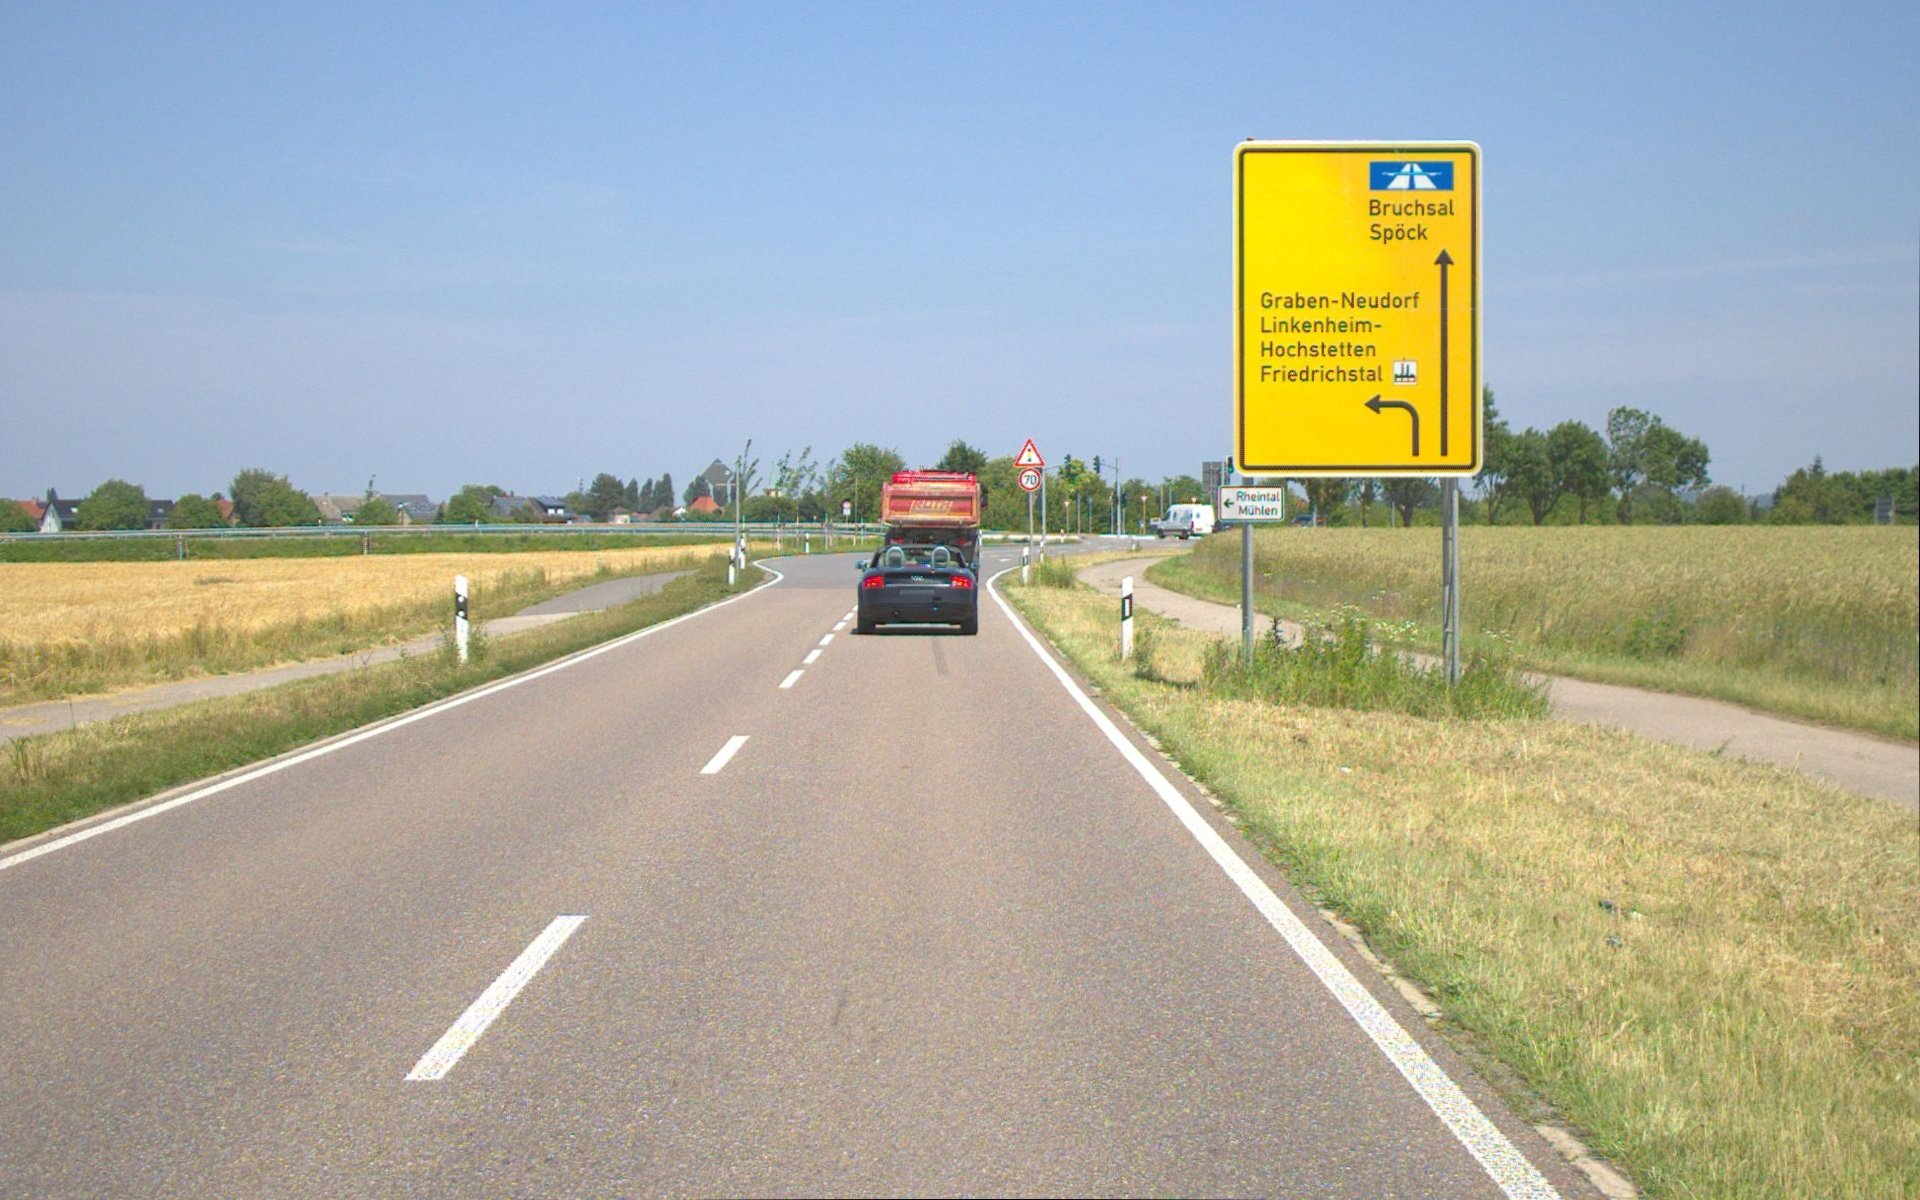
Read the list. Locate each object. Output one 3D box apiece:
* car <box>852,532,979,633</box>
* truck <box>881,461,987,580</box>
[{"bbox_3d":[-0.645,-0.272,50.498,1.747,1.371,3.679,2,1,0],"label":"car"},{"bbox_3d":[-0.705,-2.100,93.071,2.714,3.042,8.165,1,1,-1],"label":"truck"}]
